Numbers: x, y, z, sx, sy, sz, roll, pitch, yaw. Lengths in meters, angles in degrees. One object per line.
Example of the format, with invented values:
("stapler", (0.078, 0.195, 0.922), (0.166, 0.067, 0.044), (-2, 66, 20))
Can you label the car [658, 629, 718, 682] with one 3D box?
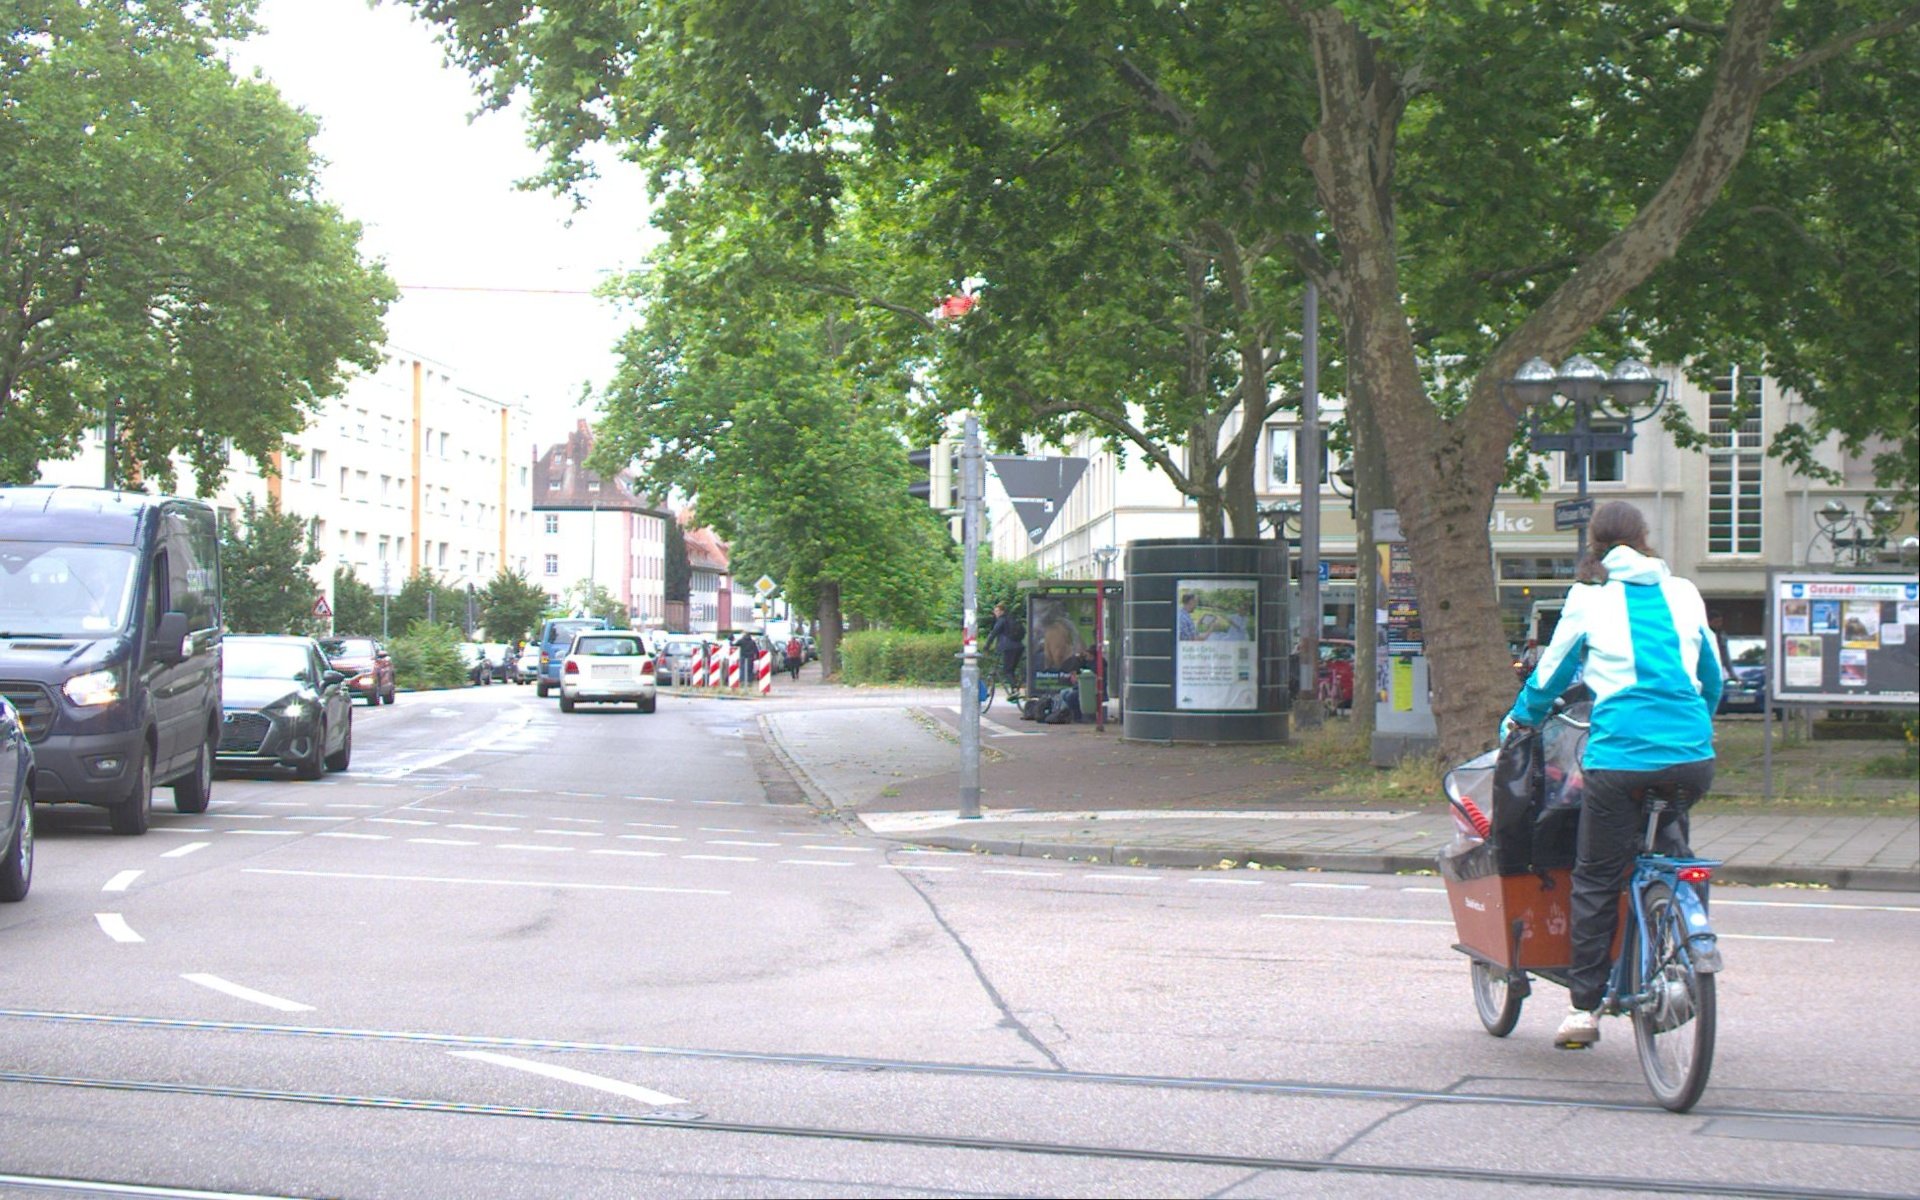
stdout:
("car", (-8.440, 1.700, 106.827), (1.815, 1.586, 4.000), (0, 0, -4))

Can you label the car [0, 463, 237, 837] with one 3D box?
("car", (-6.683, 0.340, 25.175), (2.133, 2.442, 5.580), (0, 0, -6))

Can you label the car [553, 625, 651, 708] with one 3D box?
("car", (-7.089, 1.297, 68.353), (1.815, 1.586, 4.000), (0, 0, -4))

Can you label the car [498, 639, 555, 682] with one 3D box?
("car", (-15.357, 2.129, 121.805), (1.767, 1.481, 4.000), (0, -1, -4))

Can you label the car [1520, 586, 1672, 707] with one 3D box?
("car", (12.004, 0.859, 64.706), (2.176, 2.193, 3.996), (0, -1, 20))

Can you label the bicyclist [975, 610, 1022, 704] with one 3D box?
("bicyclist", (0.717, 1.058, 64.055), (0.760, 1.753, 0.820), (0, -1, -8))

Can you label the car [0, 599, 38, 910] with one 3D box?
("car", (-5.333, 0.730, 15.825), (1.666, 1.484, 3.905), (0, 0, -9))

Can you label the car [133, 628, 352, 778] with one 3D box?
("car", (-7.239, 1.003, 35.031), (1.808, 1.422, 4.318), (0, 0, -7))

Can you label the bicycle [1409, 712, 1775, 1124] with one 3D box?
("bicycle", (1.926, 0.932, 10.776), (0.493, 1.094, 2.139), (0, 0, -7))

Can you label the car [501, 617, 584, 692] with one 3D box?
("car", (-10.528, 1.363, 86.948), (1.993, 1.842, 4.001), (0, 0, -6))

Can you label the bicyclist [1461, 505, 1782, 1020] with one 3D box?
("bicyclist", (2.030, 0.480, 10.668), (0.685, 1.512, 1.058), (0, 0, -7))

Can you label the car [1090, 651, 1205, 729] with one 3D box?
("car", (3.642, 1.707, 66.222), (1.515, 1.423, 3.997), (0, -1, 13))

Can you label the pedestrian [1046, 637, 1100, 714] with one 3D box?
("pedestrian", (1.951, 1.295, 59.384), (0.853, 1.310, 0.763), (0, -1, -4))

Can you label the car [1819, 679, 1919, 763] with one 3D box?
("car", (17.138, 2.226, 63.949), (1.798, 1.436, 3.822), (0, -1, 21))

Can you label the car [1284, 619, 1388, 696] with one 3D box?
("car", (7.316, 1.105, 66.619), (1.515, 1.423, 3.997), (0, -1, 13))

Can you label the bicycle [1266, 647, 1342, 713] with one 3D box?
("bicycle", (6.216, 1.434, 61.939), (0.779, 1.164, 2.330), (0, -1, 21))

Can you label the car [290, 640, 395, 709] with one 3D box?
("car", (-13.660, 1.629, 76.189), (1.853, 1.448, 4.168), (1, 0, -4))

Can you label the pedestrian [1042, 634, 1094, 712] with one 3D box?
("pedestrian", (1.891, 1.277, 60.337), (0.817, 1.367, 0.763), (0, -1, -4))

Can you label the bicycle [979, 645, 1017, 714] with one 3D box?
("bicycle", (0.704, 1.464, 63.794), (0.417, 1.238, 1.927), (0, -1, -8))

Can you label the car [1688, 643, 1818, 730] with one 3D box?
("car", (14.640, 1.571, 63.356), (1.798, 1.538, 3.822), (0, -1, 21))
